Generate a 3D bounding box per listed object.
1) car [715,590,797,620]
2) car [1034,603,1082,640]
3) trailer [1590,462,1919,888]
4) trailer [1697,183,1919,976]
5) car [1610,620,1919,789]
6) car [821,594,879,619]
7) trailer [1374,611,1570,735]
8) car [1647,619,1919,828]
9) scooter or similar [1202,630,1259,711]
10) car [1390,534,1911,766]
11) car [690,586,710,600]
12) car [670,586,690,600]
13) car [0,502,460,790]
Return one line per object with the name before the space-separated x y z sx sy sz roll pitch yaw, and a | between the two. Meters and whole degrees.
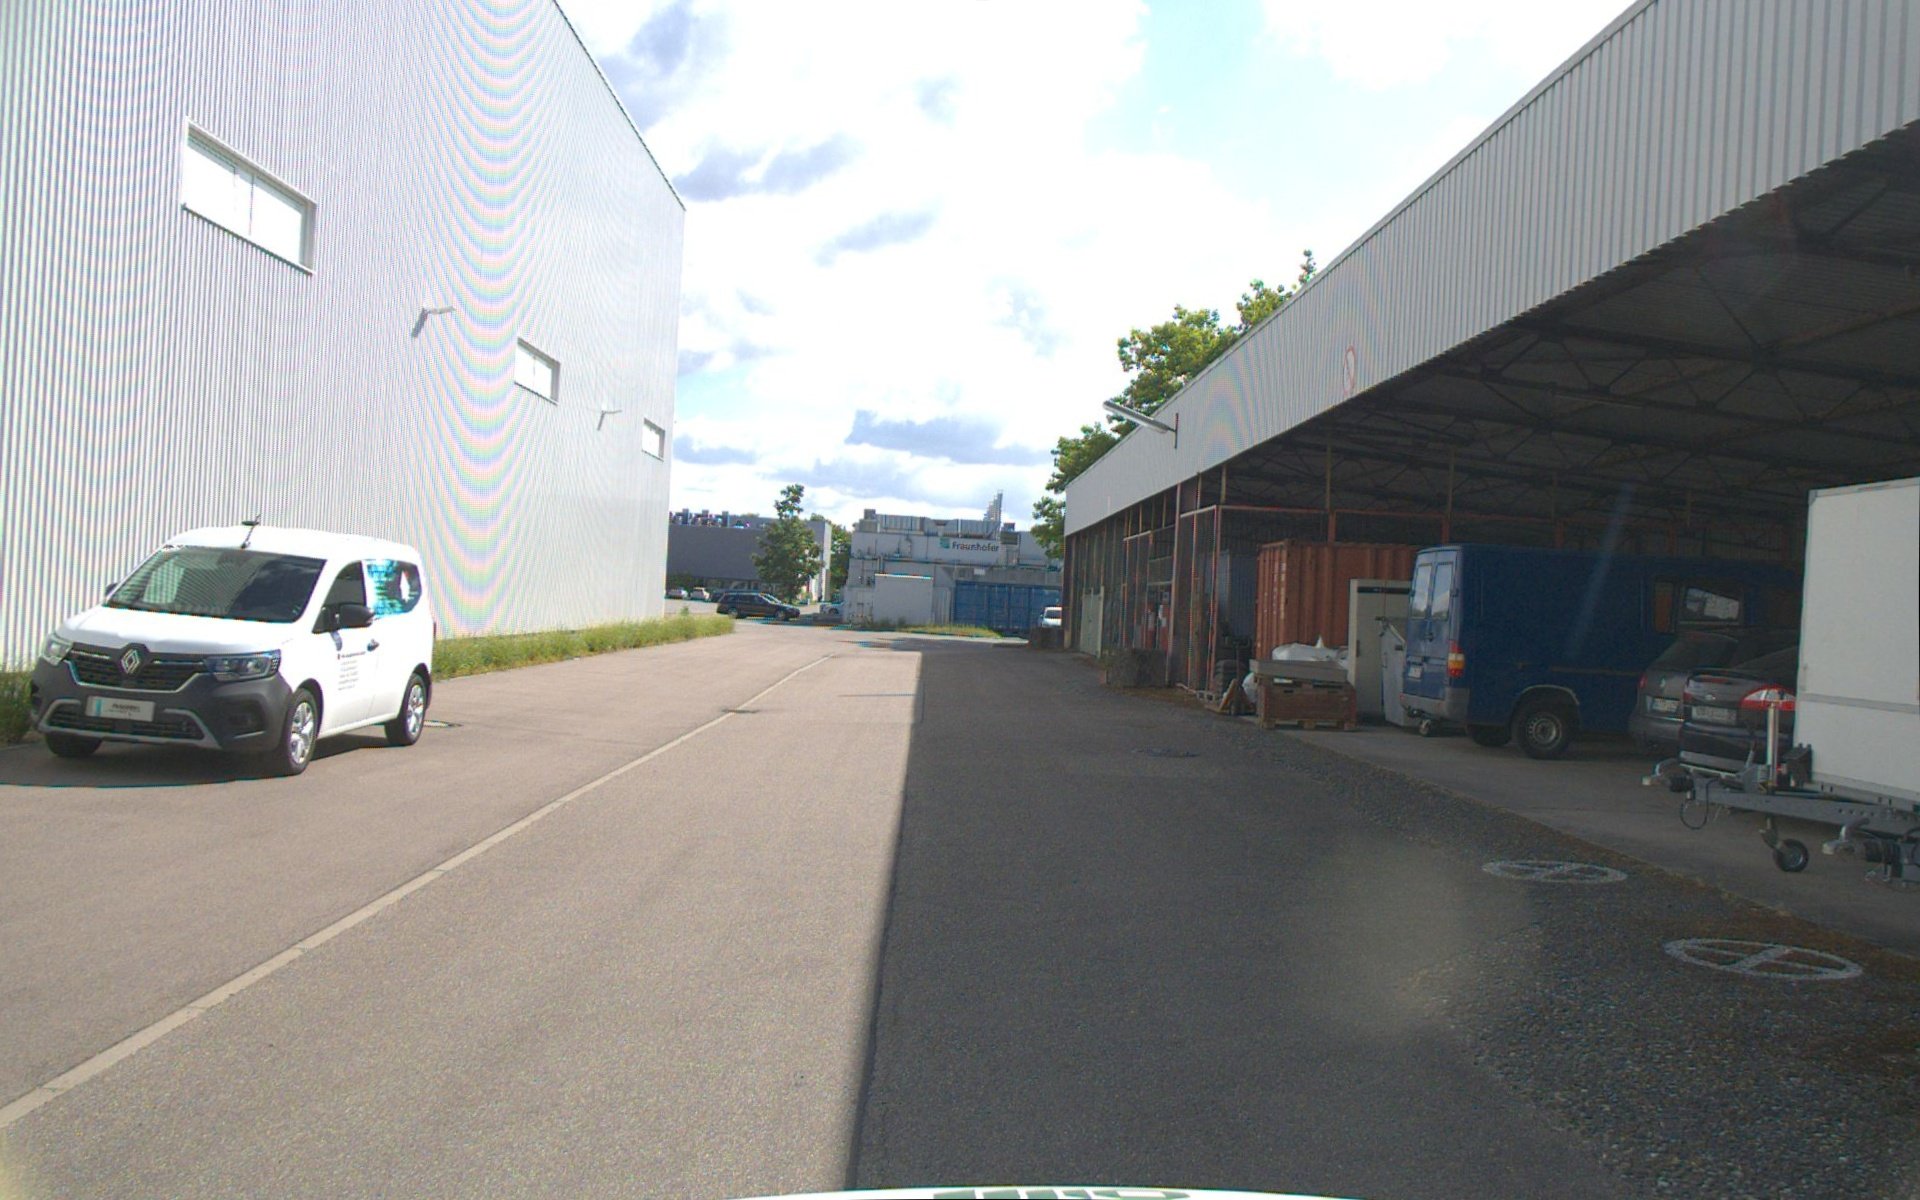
car | -11.730 0.296 95.507 4.438 1.468 1.986 3 -2 -1
car | 4.908 1.072 83.424 1.941 1.621 4.339 3 1 -2
trailer | 6.437 0.456 10.192 4.449 2.376 1.688 1 0 -1
trailer | 9.091 0.009 7.751 10.083 3.353 2.675 1 0 -1
car | 8.629 0.978 15.911 4.024 1.479 1.850 1 -1 -2
car | -8.191 0.501 123.369 4.193 1.596 1.986 3 -2 -1
trailer | 6.658 0.935 21.656 2.051 1.488 1.641 2 -1 1
car | 7.835 0.928 12.829 4.259 1.458 1.863 1 -1 -5
scooter or similar | 4.032 1.033 24.751 0.510 1.154 1.592 2 -1 -2
car | 7.828 0.560 19.090 5.111 2.337 2.083 2 -1 -2
car | -30.187 -0.756 191.979 1.840 1.564 4.032 1 0 -4
car | -32.462 -0.807 191.686 1.840 1.564 4.032 1 0 -4
car | -5.736 0.308 13.493 1.890 1.821 4.596 4 0 -1
